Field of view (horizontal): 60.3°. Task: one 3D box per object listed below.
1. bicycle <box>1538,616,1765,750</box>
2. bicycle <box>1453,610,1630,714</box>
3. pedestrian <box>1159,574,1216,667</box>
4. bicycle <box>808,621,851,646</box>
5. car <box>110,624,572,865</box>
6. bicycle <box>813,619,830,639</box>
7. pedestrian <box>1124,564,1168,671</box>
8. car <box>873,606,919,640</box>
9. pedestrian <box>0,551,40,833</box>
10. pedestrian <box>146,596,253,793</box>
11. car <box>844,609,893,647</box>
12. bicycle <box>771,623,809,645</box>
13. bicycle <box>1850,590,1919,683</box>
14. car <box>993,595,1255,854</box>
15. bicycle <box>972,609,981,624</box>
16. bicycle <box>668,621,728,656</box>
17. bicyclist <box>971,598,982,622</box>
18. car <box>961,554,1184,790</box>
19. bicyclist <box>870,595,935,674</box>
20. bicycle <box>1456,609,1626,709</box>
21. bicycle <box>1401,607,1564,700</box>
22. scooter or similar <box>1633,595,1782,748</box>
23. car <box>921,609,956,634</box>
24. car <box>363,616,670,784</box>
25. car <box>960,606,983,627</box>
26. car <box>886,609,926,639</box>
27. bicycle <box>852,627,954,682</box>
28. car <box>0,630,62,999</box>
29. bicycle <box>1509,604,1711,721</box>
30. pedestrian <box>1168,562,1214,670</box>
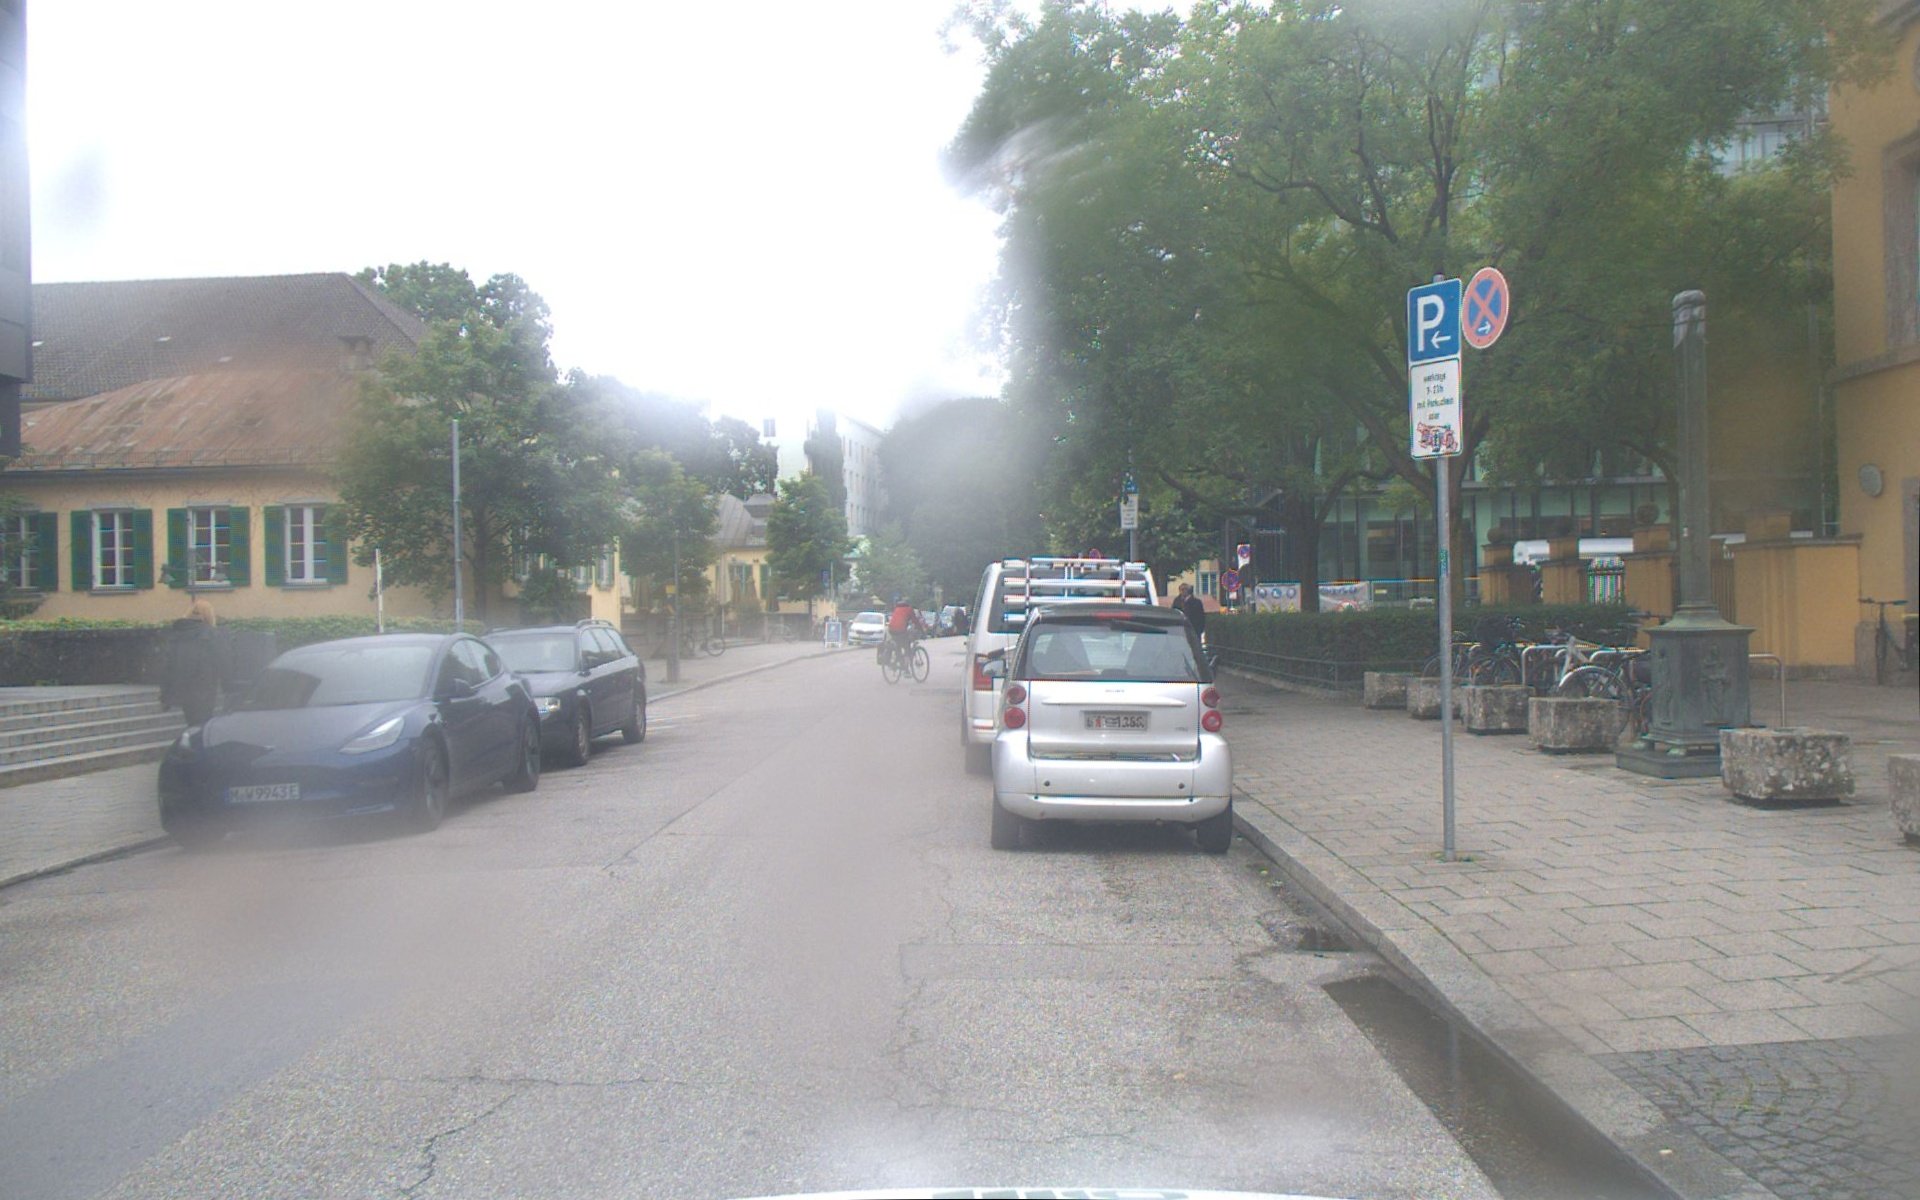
[{"bbox_3d":[6.446,0.764,15.451,1.893,1.133,0.471,-3,0,-3],"label":"bicycle"},{"bbox_3d":[6.916,0.736,19.712,1.891,1.133,0.471,-3,0,2],"label":"bicycle"},{"bbox_3d":[4.877,0.430,35.448,0.730,1.941,1.052,-2,-1,36],"label":"pedestrian"},{"bbox_3d":[-5.521,1.415,70.012,0.610,1.022,2.133,1,0,33],"label":"bicycle"},{"bbox_3d":[-4.638,0.979,13.314,1.884,1.464,4.916,-3,-1,-1],"label":"car"},{"bbox_3d":[-7.226,1.526,86.265,0.608,1.022,1.620,-1,-2,6],"label":"bicycle"},{"bbox_3d":[3.889,0.361,34.567,0.727,2.172,1.056,-2,-1,0],"label":"pedestrian"},{"bbox_3d":[-3.325,1.183,87.099,1.952,1.677,4.657,-1,0,3],"label":"car"},{"bbox_3d":[-7.670,0.685,12.160,1.112,2.091,1.221,0,-1,-1],"label":"pedestrian"},{"bbox_3d":[-7.142,0.862,15.580,0.740,1.780,0.949,-1,-1,-15],"label":"pedestrian"},{"bbox_3d":[-4.091,1.248,74.514,1.697,1.609,3.789,2,0,4],"label":"car"},{"bbox_3d":[-7.638,1.514,74.241,1.592,0.942,0.646,-1,-2,-24],"label":"bicycle"},{"bbox_3d":[12.481,0.463,21.716,0.531,1.174,1.902,-2,0,-1],"label":"bicycle"},{"bbox_3d":[1.038,0.768,11.628,1.572,1.573,2.934,1,0,1],"label":"car"},{"bbox_3d":[1.126,1.149,113.999,0.609,1.022,2.140,-1,0,0],"label":"bicycle"},{"bbox_3d":[-8.737,1.283,55.150,1.890,1.118,0.615,1,0,3],"label":"bicycle"},{"bbox_3d":[1.136,0.707,113.953,0.728,1.603,0.977,-1,0,0],"label":"bicyclist"},{"bbox_3d":[0.960,0.623,16.731,1.807,1.967,5.272,1,0,-1],"label":"car"},{"bbox_3d":[-1.122,0.679,32.465,1.086,1.524,0.663,0,-3,-43],"label":"bicyclist"},{"bbox_3d":[7.185,0.725,20.501,1.891,1.133,0.471,-3,0,2],"label":"bicycle"},{"bbox_3d":[6.941,0.701,21.992,1.991,1.133,0.471,-3,0,-3],"label":"bicycle"},{"bbox_3d":[6.396,0.609,14.161,0.534,1.243,0.995,-2,-1,-44],"label":"scooter or similar"},{"bbox_3d":[-1.407,1.408,110.016,1.951,1.512,4.002,-2,0,5],"label":"car"},{"bbox_3d":[-4.755,0.999,18.577,1.952,1.517,4.884,-3,0,1],"label":"car"},{"bbox_3d":[0.979,1.427,141.341,1.772,1.712,4.001,-2,0,3],"label":"car"},{"bbox_3d":[-2.977,1.346,92.275,1.952,1.631,4.001,-1,-1,2],"label":"car"},{"bbox_3d":[-1.100,1.064,32.464,2.123,1.022,0.613,0,-2,-44],"label":"bicycle"},{"bbox_3d":[-4.824,0.917,5.016,1.704,1.486,4.237,-4,0,2],"label":"car"},{"bbox_3d":[6.837,0.650,17.452,1.891,1.133,0.471,-3,0,2],"label":"bicycle"},{"bbox_3d":[4.764,0.325,34.238,0.727,2.172,1.056,-2,-1,0],"label":"pedestrian"}]
